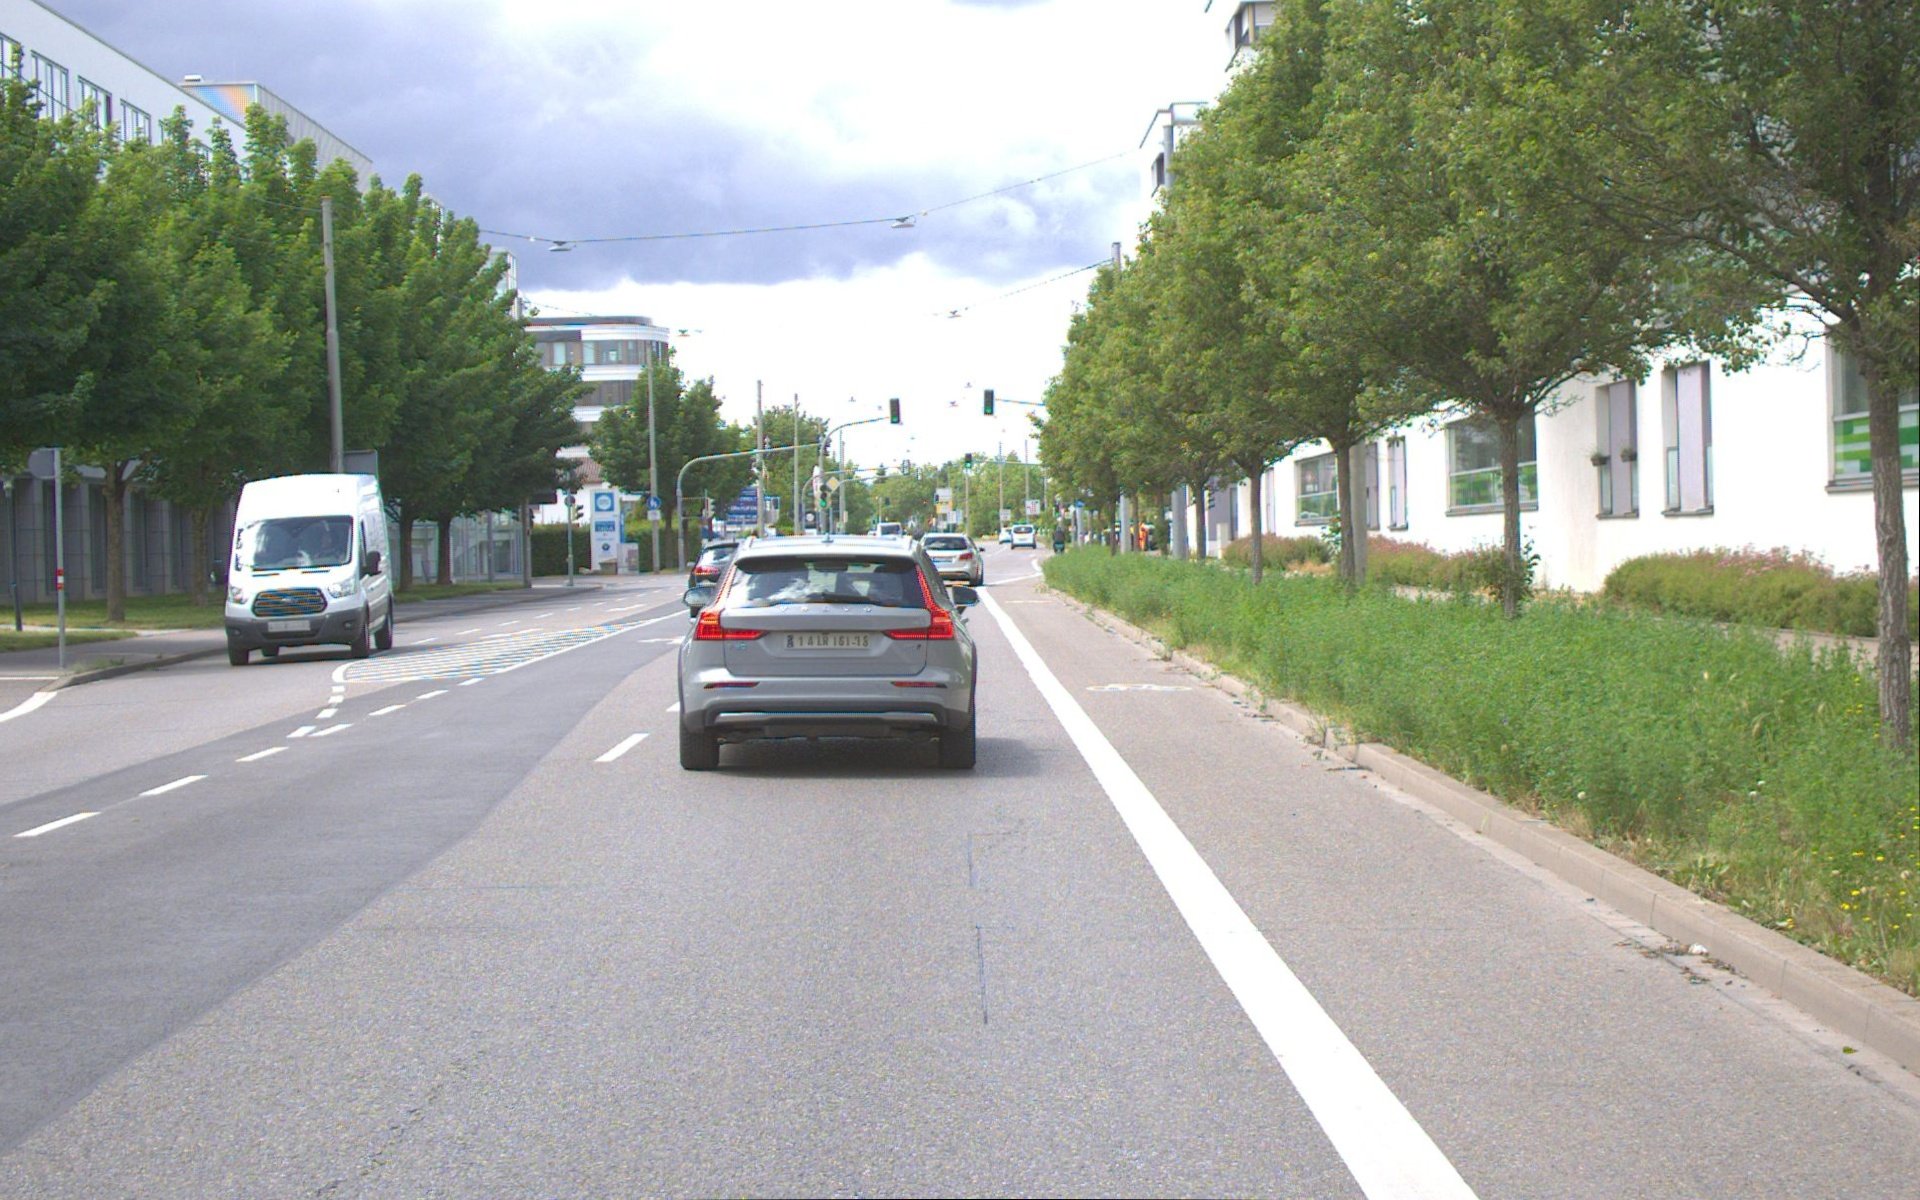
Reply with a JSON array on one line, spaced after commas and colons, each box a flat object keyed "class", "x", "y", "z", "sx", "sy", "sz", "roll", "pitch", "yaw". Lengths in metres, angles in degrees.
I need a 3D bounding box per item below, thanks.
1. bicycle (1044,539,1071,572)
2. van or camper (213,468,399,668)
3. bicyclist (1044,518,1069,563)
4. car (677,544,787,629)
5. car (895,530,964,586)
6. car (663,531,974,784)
[{"class": "bicycle", "x": 4.478, "y": -2.066, "z": 158.072, "sx": 1.067, "sy": 1.448, "sz": 2.978, "roll": -3, "pitch": 1, "yaw": -1}, {"class": "van or camper", "x": -9.686, "y": -0.496, "z": 51.354, "sx": 1.993, "sy": 2.724, "sz": 6.054, "roll": -3, "pitch": 1, "yaw": -5}, {"class": "bicyclist", "x": 4.436, "y": -2.735, "z": 158.064, "sx": 1.014, "sy": 2.007, "sz": 1.131, "roll": -3, "pitch": 1, "yaw": -1}, {"class": "car", "x": -4.229, "y": -0.280, "z": 64.369, "sx": 1.854, "sy": 1.508, "sz": 4.000, "roll": -1, "pitch": 1, "yaw": -1}, {"class": "car", "x": -0.860, "y": -1.182, "z": 95.615, "sx": 1.845, "sy": 1.508, "sz": 4.000, "roll": -1, "pitch": 1, "yaw": -1}, {"class": "car", "x": -0.949, "y": 0.311, "z": 22.524, "sx": 1.854, "sy": 1.508, "sz": 4.001, "roll": 0, "pitch": 1, "yaw": -3}]
